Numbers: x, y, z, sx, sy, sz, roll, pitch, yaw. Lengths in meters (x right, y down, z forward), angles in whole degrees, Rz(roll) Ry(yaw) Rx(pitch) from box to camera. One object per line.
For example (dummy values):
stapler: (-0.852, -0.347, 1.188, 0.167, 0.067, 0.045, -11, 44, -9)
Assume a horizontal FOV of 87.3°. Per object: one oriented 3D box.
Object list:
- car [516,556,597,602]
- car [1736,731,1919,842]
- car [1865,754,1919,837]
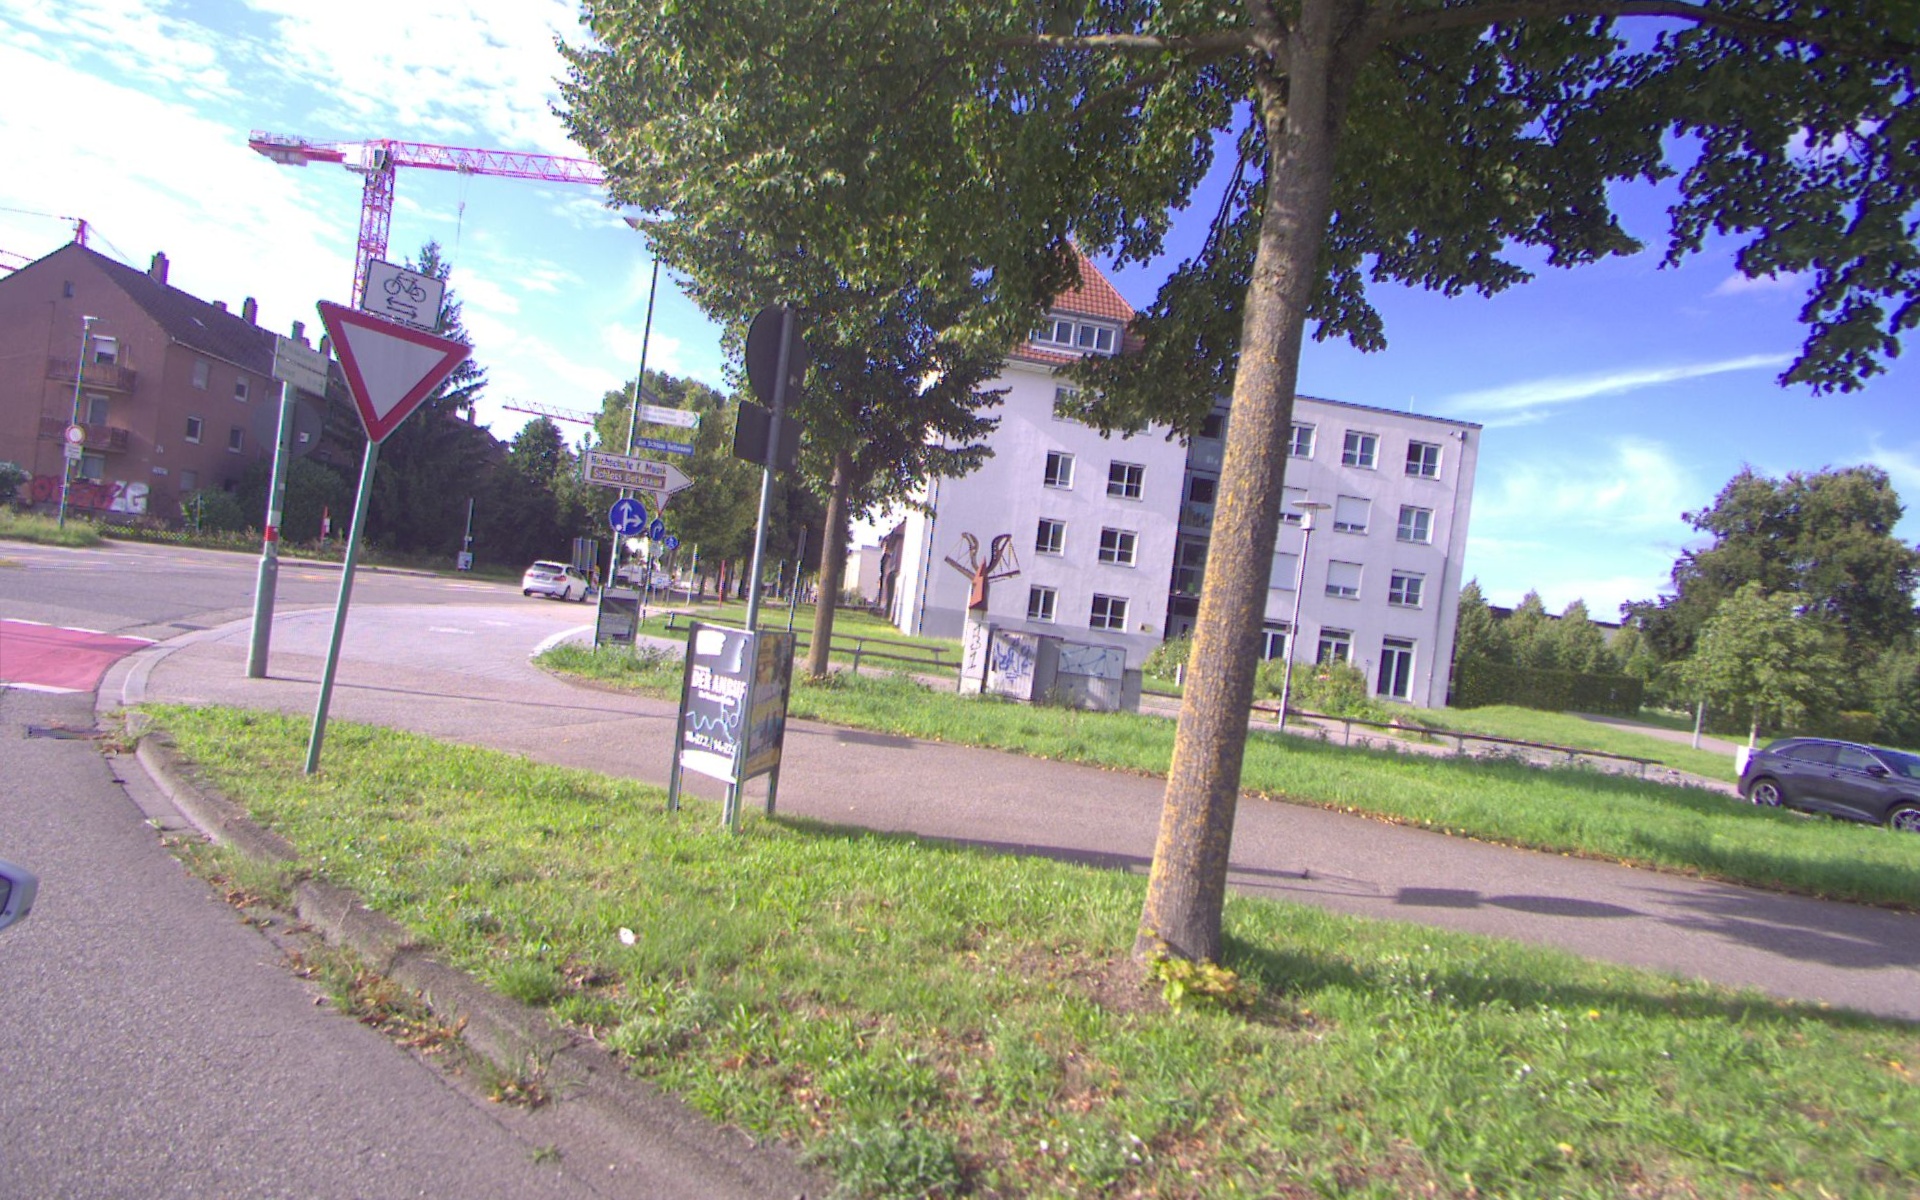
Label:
car: (-17.386, -0.849, 43.564, 1.824, 1.590, 4.453, 9, -1, -4)
car: (16.706, 3.426, 17.990, 1.828, 1.398, 4.513, 7, -1, -4)
car: (19.701, 3.985, 18.311, 1.828, 1.457, 4.731, 7, -1, -4)
